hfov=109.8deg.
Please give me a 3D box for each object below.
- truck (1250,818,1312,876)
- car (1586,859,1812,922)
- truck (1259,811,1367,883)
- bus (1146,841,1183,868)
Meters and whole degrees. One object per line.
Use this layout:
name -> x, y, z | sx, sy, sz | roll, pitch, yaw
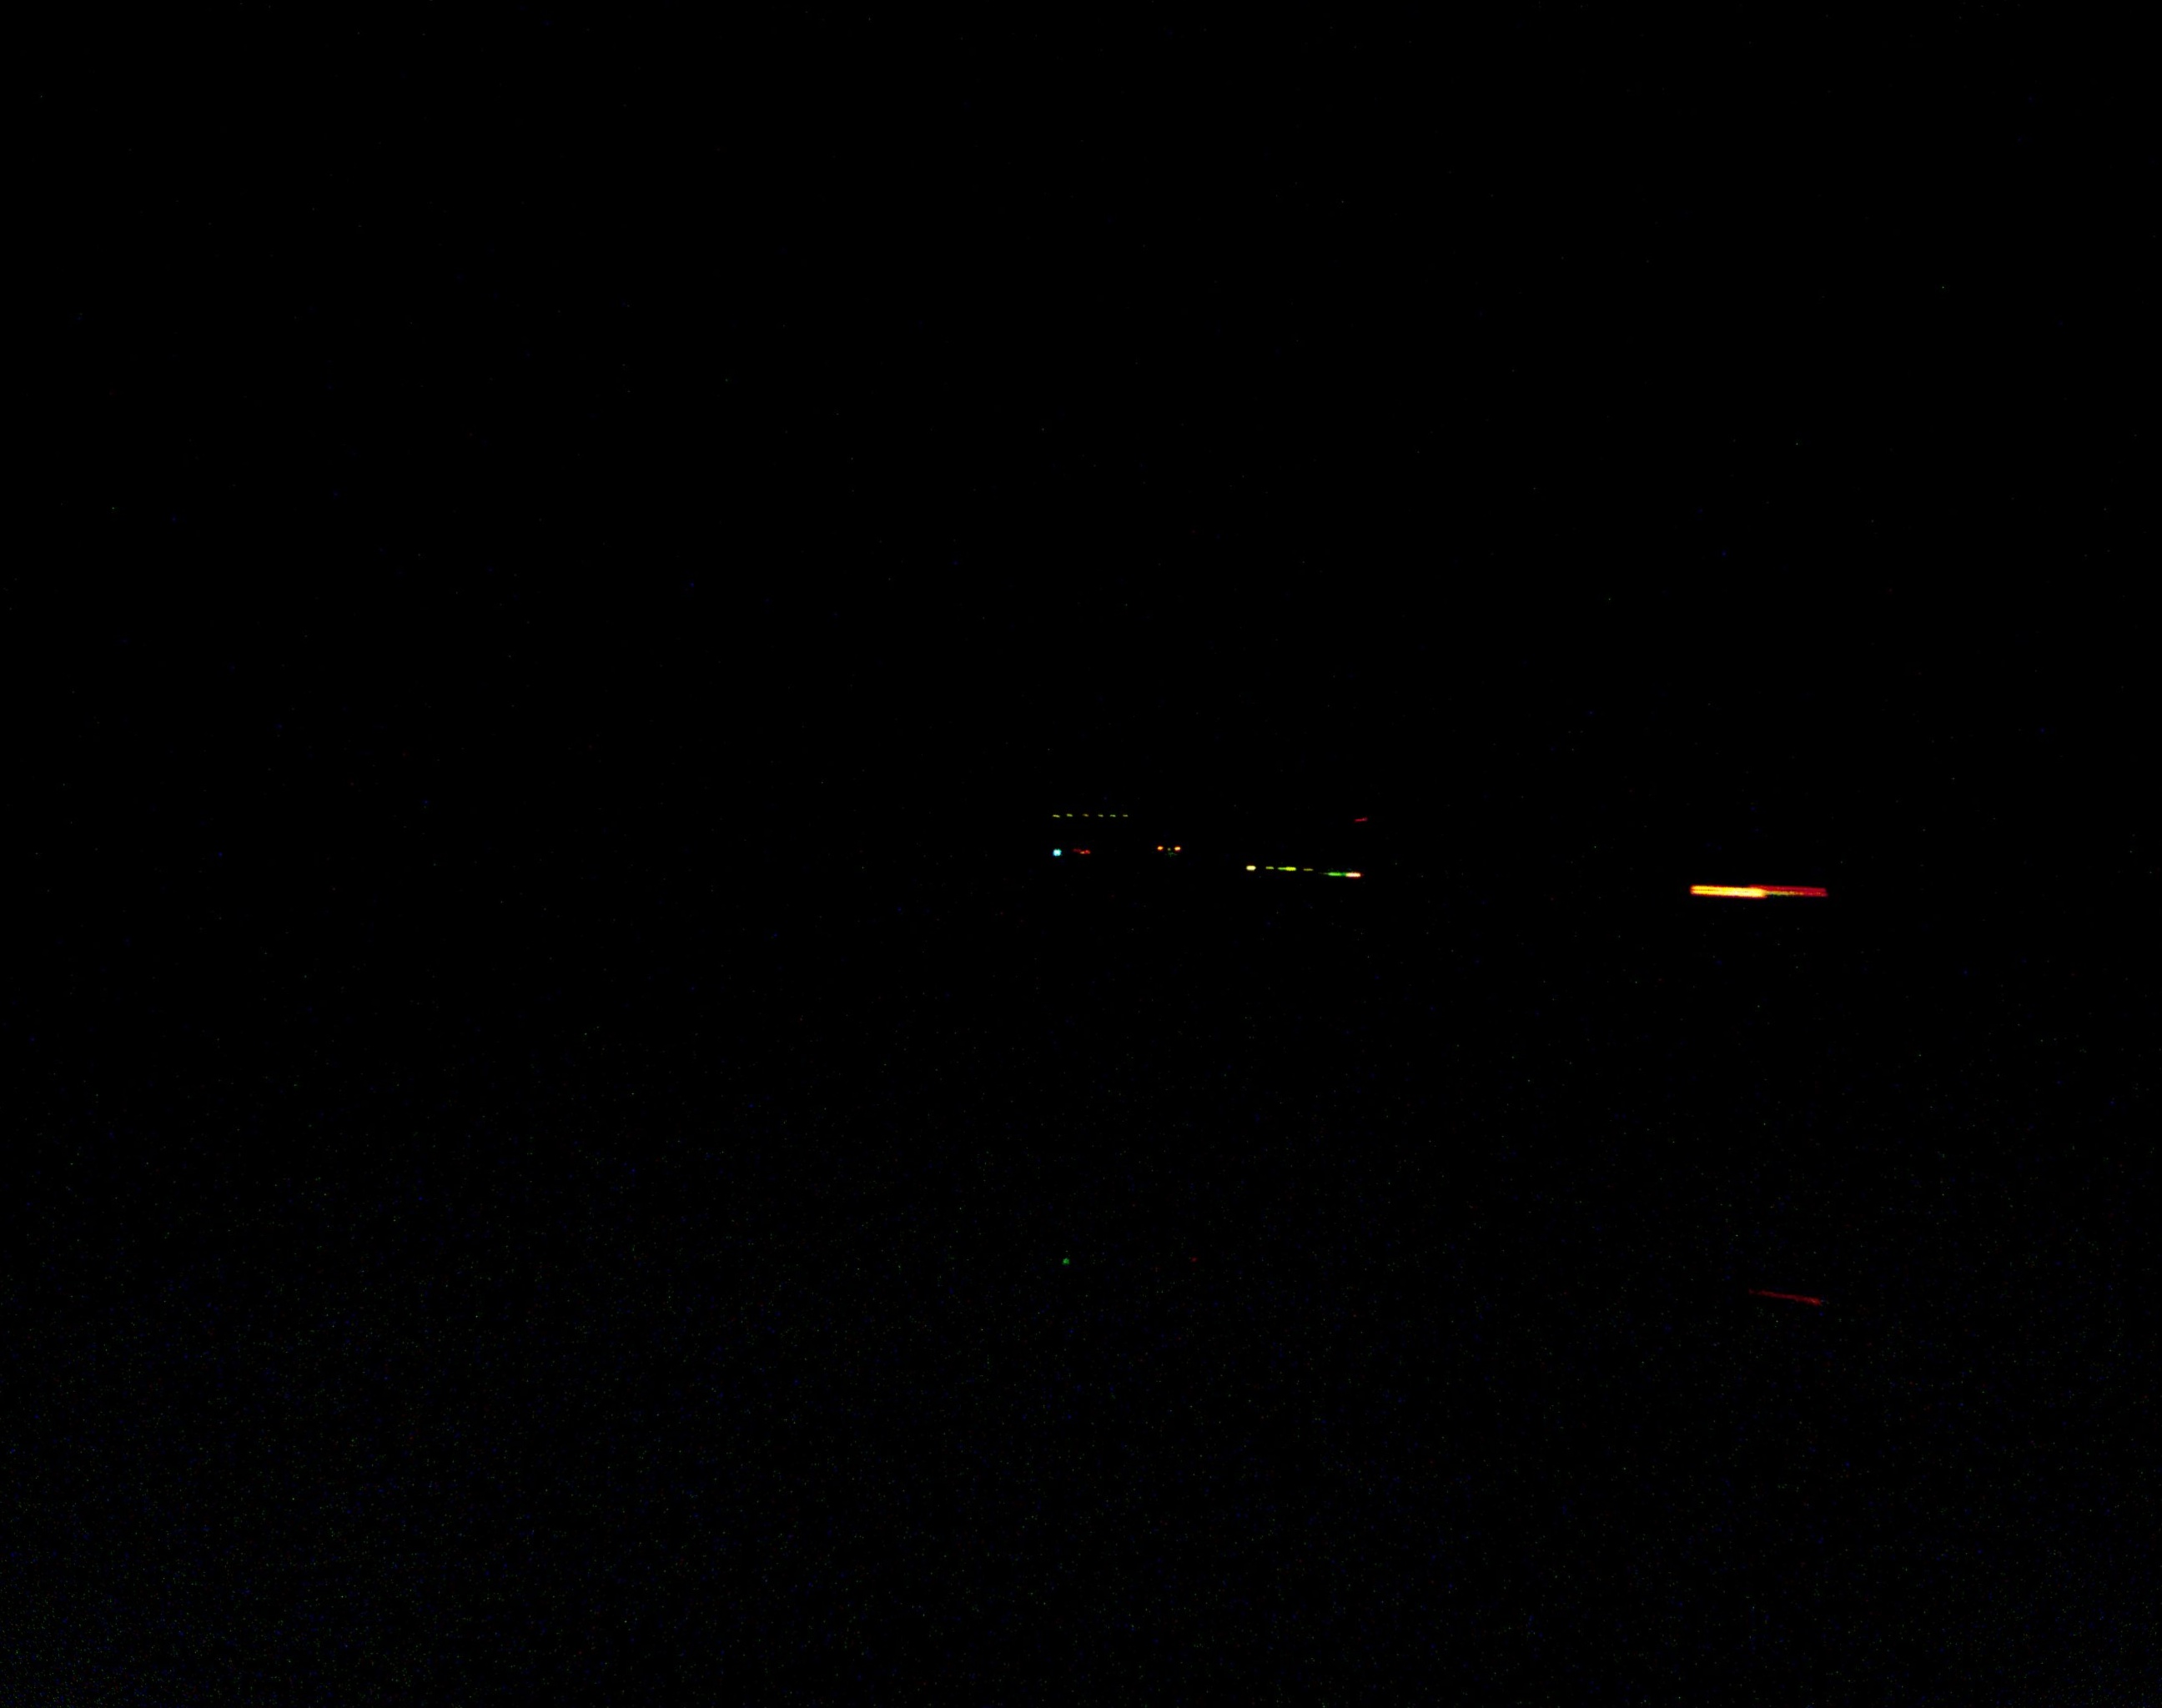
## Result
truck -> 14.866, -0.515, 57.044 | 2.780, 4.119, 6.673 | -1, 1, -1
car -> 14.509, 0.786, 18.227 | 1.998, 1.264, 4.295 | -1, 0, 2
truck -> 14.994, -0.426, 50.764 | 2.753, 4.103, 13.906 | -1, 0, -1
bus -> 10.329, -0.005, 95.097 | 2.793, 3.092, 12.514 | -1, 0, -2
